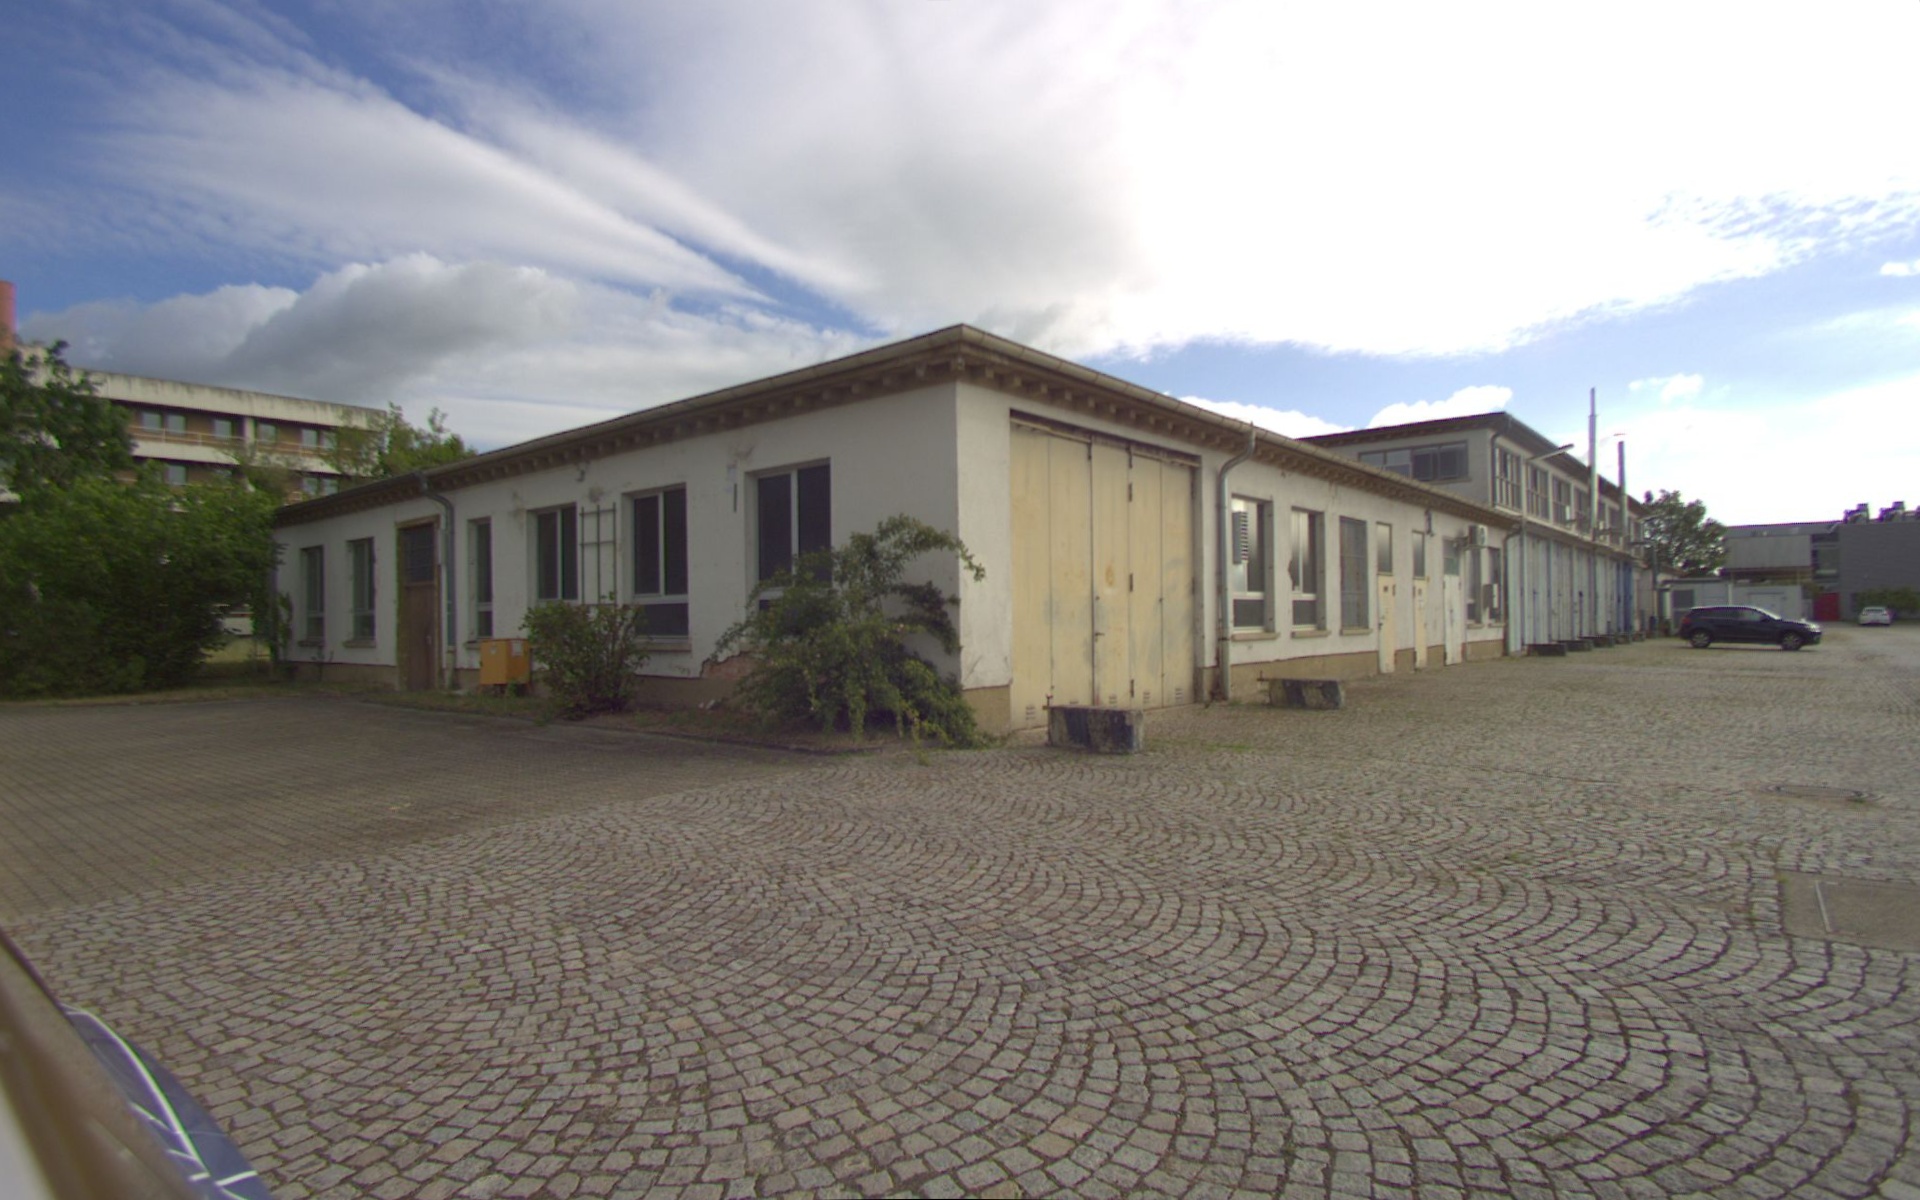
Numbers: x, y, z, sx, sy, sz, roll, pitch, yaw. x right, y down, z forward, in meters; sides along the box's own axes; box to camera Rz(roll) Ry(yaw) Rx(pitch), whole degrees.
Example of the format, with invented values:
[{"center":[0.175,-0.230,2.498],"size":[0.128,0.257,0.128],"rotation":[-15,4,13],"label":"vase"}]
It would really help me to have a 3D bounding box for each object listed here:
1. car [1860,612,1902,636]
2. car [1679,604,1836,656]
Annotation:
[{"center":[71.742,1.881,78.864],"size":[2.152,1.824,3.947],"rotation":[-2,-2,39],"label":"car"},{"center":[29.343,1.130,37.351],"size":[4.432,1.770,1.973],"rotation":[-2,-5,40],"label":"car"}]
